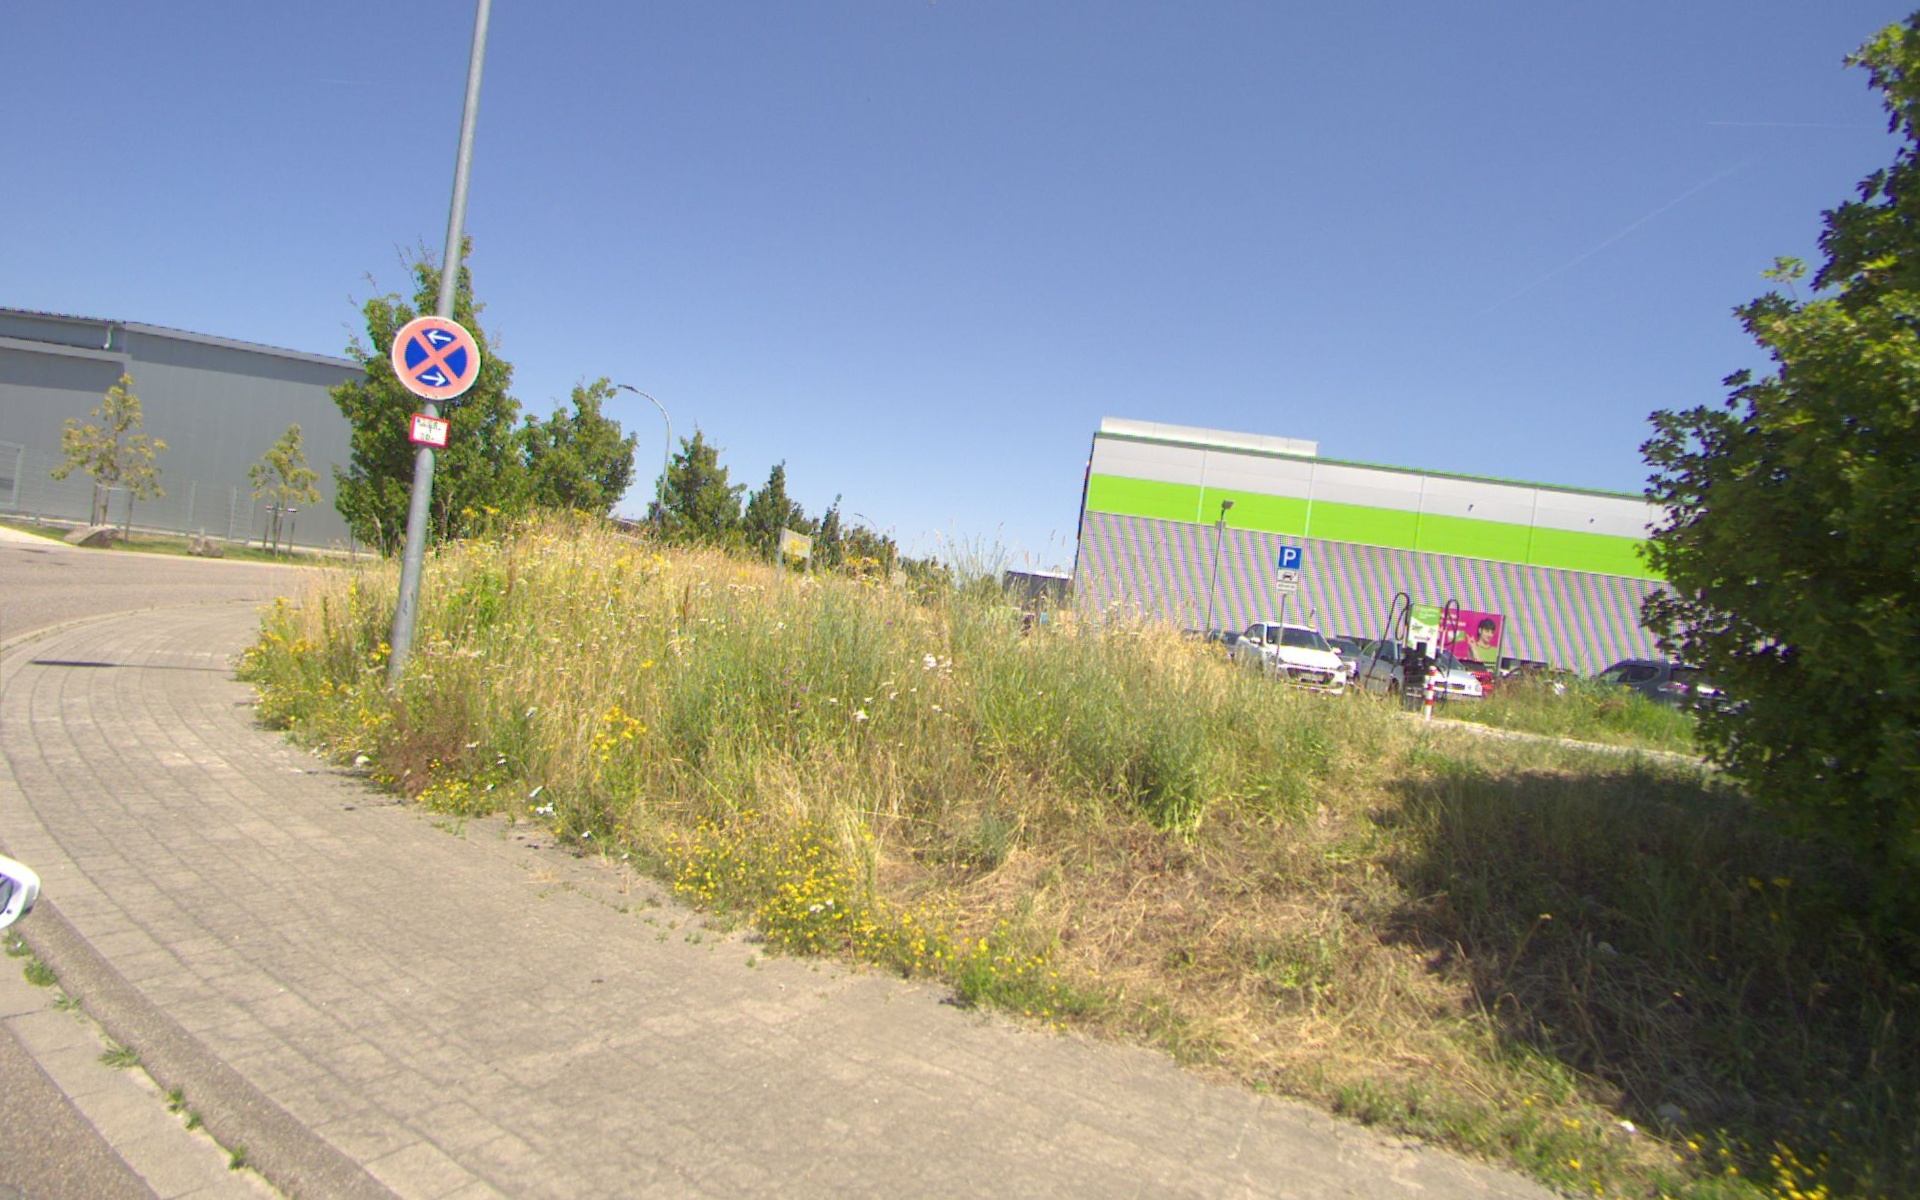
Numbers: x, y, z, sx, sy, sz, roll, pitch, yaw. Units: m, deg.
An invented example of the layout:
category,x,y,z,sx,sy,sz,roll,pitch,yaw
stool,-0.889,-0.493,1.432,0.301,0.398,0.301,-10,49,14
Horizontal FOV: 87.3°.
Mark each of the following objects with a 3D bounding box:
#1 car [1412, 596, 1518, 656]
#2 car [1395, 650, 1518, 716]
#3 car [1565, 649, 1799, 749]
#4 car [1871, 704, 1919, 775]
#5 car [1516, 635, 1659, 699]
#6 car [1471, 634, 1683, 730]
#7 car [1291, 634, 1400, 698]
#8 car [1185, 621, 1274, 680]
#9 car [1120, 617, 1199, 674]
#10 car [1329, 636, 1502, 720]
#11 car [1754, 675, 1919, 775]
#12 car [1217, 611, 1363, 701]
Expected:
category,x,y,z,sx,sy,sz,roll,pitch,yaw
car,18.476,0.944,37.003,1.962,1.871,4.001,6,0,5
car,15.510,2.550,31.665,1.801,1.549,3.998,6,1,1
car,14.522,1.925,20.570,1.802,1.441,3.998,6,1,1
car,21.883,3.205,21.101,1.802,1.441,3.998,6,1,1
car,18.959,1.982,30.648,1.962,1.538,4.002,6,0,5
car,12.483,1.587,20.704,1.802,1.441,3.998,6,1,1
car,12.084,2.021,31.824,1.801,1.549,3.998,6,1,1
car,8.922,1.641,33.653,1.801,1.549,3.998,6,1,1
car,6.703,1.502,34.176,1.801,1.549,3.998,6,1,1
car,9.524,1.574,21.429,1.802,1.282,3.998,6,1,1
car,17.724,2.409,19.232,1.802,1.441,3.998,6,1,1
car,7.086,1.135,22.042,1.801,1.549,3.998,6,1,1
